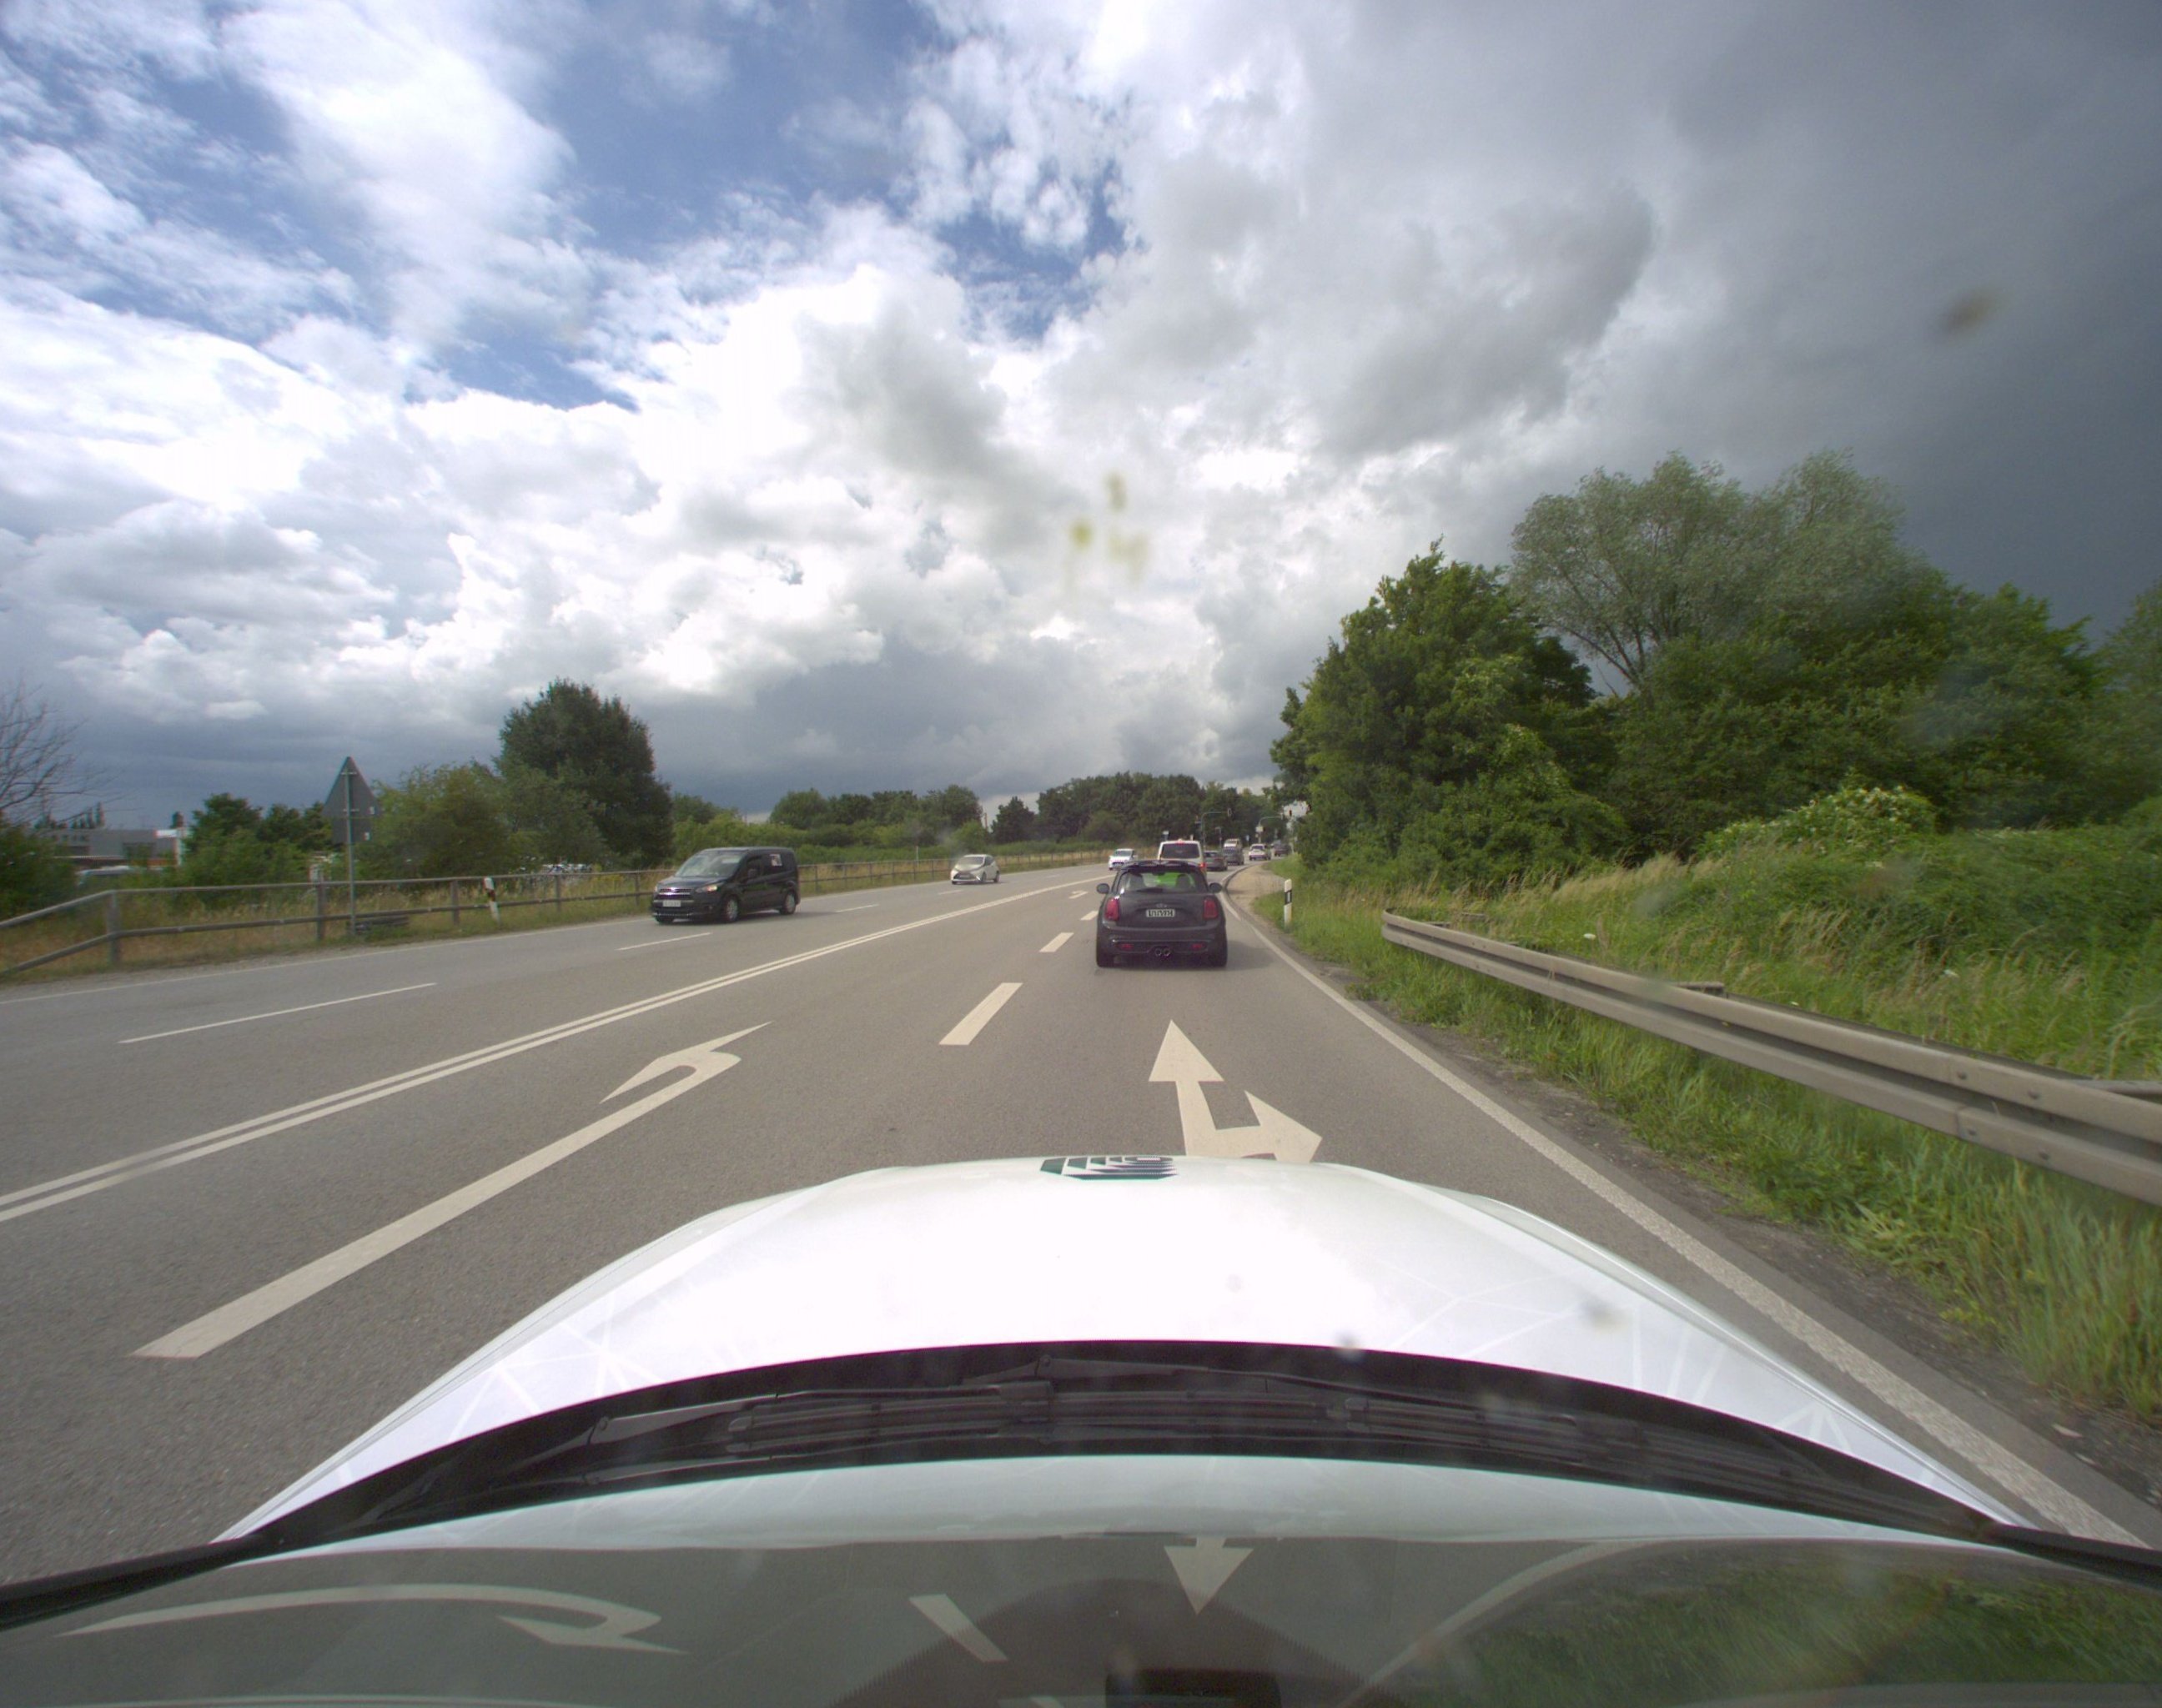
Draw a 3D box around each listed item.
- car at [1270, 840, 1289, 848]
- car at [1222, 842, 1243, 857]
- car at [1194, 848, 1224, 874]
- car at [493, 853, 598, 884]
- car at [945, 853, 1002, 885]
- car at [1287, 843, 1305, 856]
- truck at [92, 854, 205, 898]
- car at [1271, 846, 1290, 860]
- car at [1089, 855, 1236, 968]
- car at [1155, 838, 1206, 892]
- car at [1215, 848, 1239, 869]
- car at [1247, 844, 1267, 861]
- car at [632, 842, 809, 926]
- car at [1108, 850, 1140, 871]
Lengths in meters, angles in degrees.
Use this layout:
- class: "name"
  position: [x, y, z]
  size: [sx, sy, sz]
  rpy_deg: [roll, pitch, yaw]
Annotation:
- class: "car"
  position: [36.801, -1.905, 150.703]
  size: [1.791, 1.441, 4.381]
  rpy_deg: [-1, 1, 38]
- class: "car"
  position: [22.088, -0.674, 118.614]
  size: [1.975, 2.013, 4.694]
  rpy_deg: [-1, 0, 25]
- class: "car"
  position: [8.949, 0.480, 57.043]
  size: [1.982, 1.684, 4.010]
  rpy_deg: [0, 0, 9]
- class: "car"
  position: [-30.455, 0.795, 46.457]
  size: [4.569, 1.734, 1.994]
  rpy_deg: [0, 0, -10]
- class: "car"
  position: [-5.342, 0.730, 40.905]
  size: [1.866, 1.489, 3.752]
  rpy_deg: [-1, 0, 8]
- class: "car"
  position: [30.165, -0.587, 114.056]
  size: [1.976, 1.695, 4.509]
  rpy_deg: [-1, 1, 21]
- class: "truck"
  position: [-61.061, 1.349, 53.559]
  size: [2.660, 2.682, 6.595]
  rpy_deg: [-1, 0, -28]
- class: "car"
  position: [23.997, -0.075, 97.962]
  size: [1.981, 1.684, 4.012]
  rpy_deg: [0, 0, 11]
- class: "car"
  position: [1.144, 0.743, 12.212]
  size: [1.837, 1.428, 3.844]
  rpy_deg: [0, -1, 3]
- class: "car"
  position: [3.899, 0.431, 31.860]
  size: [1.835, 1.987, 3.849]
  rpy_deg: [0, -1, 7]
- class: "car"
  position: [12.451, 0.370, 69.294]
  size: [1.981, 1.684, 3.989]
  rpy_deg: [0, 0, 11]
- class: "car"
  position: [18.083, -0.172, 83.746]
  size: [1.980, 1.684, 4.013]
  rpy_deg: [0, 0, 12]
- class: "car"
  position: [-8.571, 0.636, 19.863]
  size: [1.983, 1.797, 4.328]
  rpy_deg: [-1, 0, 6]
- class: "car"
  position: [3.247, 0.442, 61.217]
  size: [1.718, 1.518, 4.014]
  rpy_deg: [0, 0, 13]
